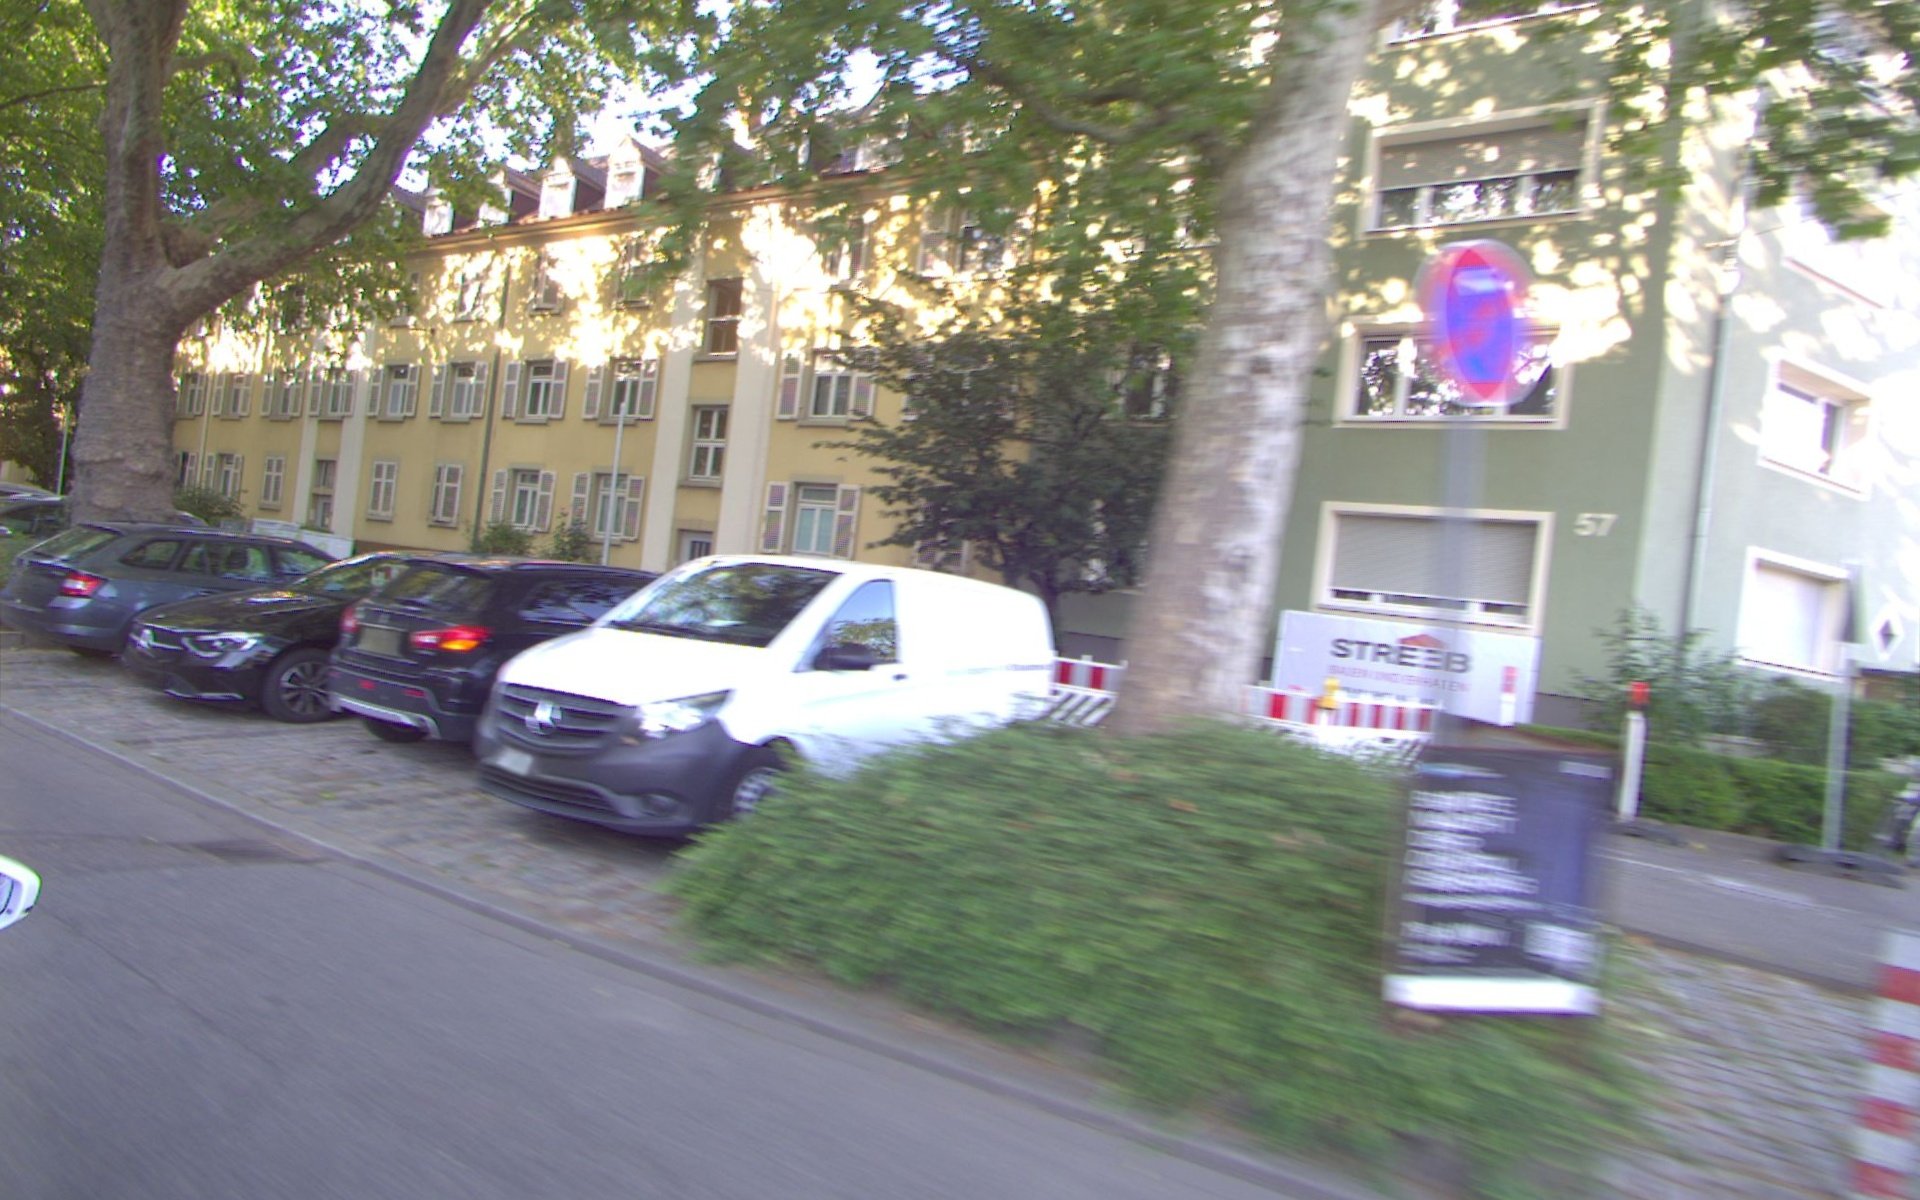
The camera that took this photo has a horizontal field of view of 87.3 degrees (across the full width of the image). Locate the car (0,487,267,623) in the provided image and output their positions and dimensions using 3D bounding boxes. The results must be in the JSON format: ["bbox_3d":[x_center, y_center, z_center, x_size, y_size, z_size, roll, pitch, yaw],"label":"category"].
[{"bbox_3d":[-13.266,-0.722,14.695,1.888,1.621,4.719,7,-1,31],"label":"car"}]

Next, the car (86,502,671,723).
[{"bbox_3d":[-5.471,0.239,10.228,1.888,1.621,4.719,7,-1,31],"label":"car"}]

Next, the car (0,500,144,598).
[{"bbox_3d":[-17.846,-1.095,17.905,1.887,1.552,4.720,7,-1,31],"label":"car"}]

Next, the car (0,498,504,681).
[{"bbox_3d":[-7.880,0.004,11.428,1.887,1.524,4.596,7,-1,29],"label":"car"}]

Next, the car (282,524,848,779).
[{"bbox_3d":[-3.209,0.498,9.156,1.910,1.621,4.414,7,-1,32],"label":"car"}]

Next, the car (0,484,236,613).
[{"bbox_3d":[-15.019,-0.915,16.428,1.887,1.742,4.720,7,-1,31],"label":"car"}]

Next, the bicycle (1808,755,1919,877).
[{"bbox_3d":[9.619,2.221,10.199,1.904,1.069,0.519,7,-1,-16],"label":"bicycle"}]

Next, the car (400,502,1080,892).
[{"bbox_3d":[-1.070,0.581,7.626,1.898,1.849,5.227,5,-1,30],"label":"car"}]
